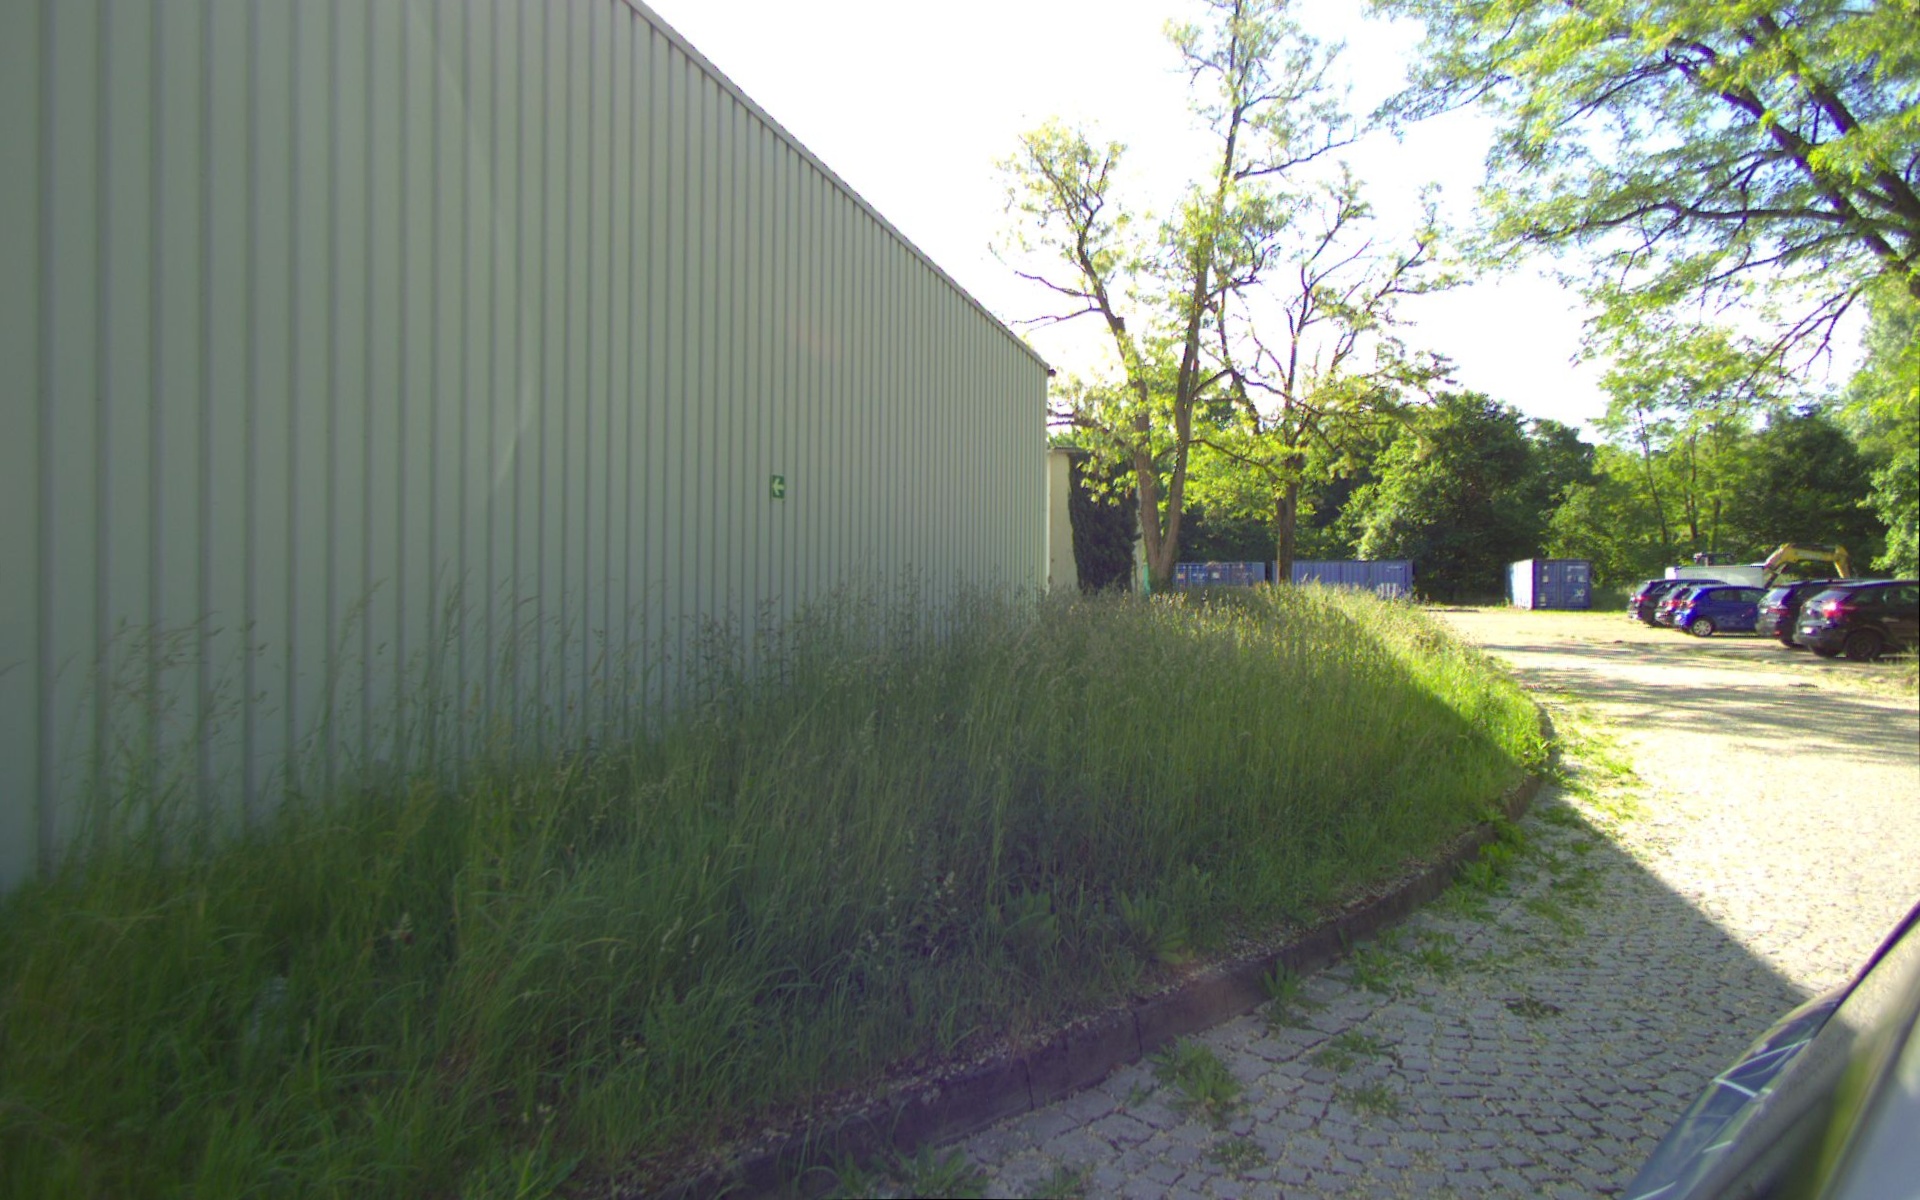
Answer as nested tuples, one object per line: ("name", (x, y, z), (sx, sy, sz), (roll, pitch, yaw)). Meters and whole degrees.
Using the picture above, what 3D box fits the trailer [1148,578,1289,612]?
("trailer", (12.795, -0.263, 50.080), (6.423, 1.536, 2.832), (0, 2, 25))

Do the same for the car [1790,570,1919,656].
("car", (19.968, 0.214, 20.650), (4.246, 1.673, 1.782), (-2, 0, 20))

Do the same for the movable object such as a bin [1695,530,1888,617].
("movable object such as a bin", (30.056, -0.950, 36.846), (5.119, 3.003, 1.980), (0, 1, 30))

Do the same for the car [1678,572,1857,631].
("car", (22.784, 0.054, 28.746), (3.627, 1.512, 1.698), (-2, 0, 27))

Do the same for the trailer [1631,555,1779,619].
("trailer", (26.287, -0.431, 35.864), (3.931, 2.120, 1.625), (-1, 0, 26))

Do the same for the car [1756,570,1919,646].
("car", (21.390, 0.169, 23.535), (4.144, 1.677, 1.803), (-1, 0, 24))

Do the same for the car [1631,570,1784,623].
("car", (24.563, -0.131, 33.442), (3.783, 1.662, 1.851), (0, 1, 27))

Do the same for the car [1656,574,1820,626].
("car", (23.799, 0.003, 31.129), (3.624, 1.469, 1.819), (-1, 1, 25))
